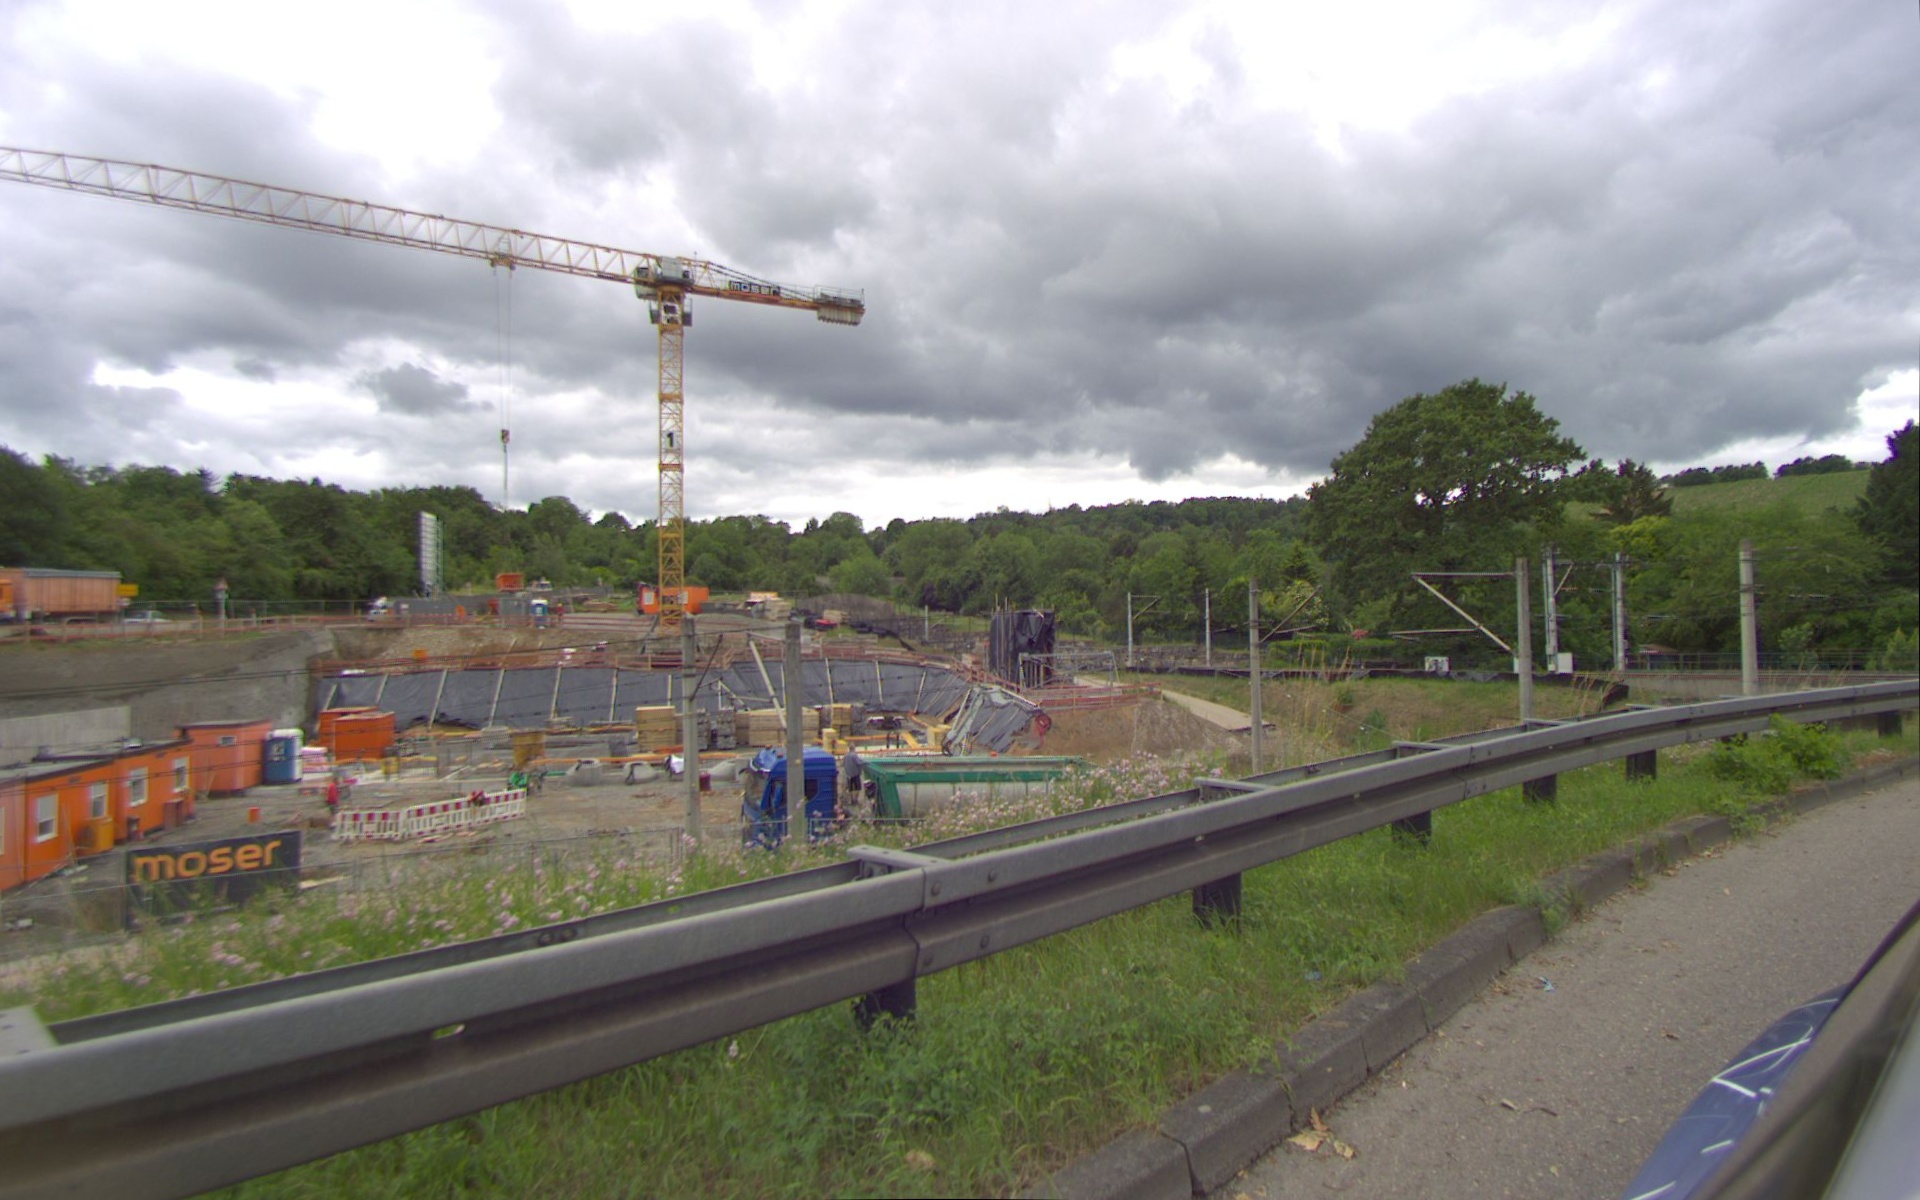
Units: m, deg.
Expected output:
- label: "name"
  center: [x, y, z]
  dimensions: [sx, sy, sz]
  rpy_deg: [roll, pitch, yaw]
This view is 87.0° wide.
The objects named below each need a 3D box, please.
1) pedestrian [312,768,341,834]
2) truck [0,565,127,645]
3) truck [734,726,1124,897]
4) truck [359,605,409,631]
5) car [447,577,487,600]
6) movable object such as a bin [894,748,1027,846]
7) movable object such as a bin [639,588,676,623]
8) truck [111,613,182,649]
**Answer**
- label: "pedestrian"
  center: [-21.220, 6.725, 33.915]
  dimensions: [0.689, 2.041, 0.804]
  rpy_deg: [-1, -5, -21]
- label: "truck"
  center: [-52.716, 0.319, 57.395]
  dimensions: [3.060, 4.275, 9.794]
  rpy_deg: [0, -1, -2]
- label: "truck"
  center: [-0.750, 6.030, 30.309]
  dimensions: [11.376, 3.944, 2.851]
  rpy_deg: [1, -2, -23]
- label: "truck"
  center: [-50.021, 1.605, 87.959]
  dimensions: [1.963, 2.040, 3.995]
  rpy_deg: [-2, -3, 2]
- label: "car"
  center: [-48.590, -1.110, 99.758]
  dimensions: [1.962, 2.039, 3.998]
  rpy_deg: [-2, -1, 1]
- label: "movable object such as a bin"
  center: [-0.066, 6.735, 34.920]
  dimensions: [4.201, 2.785, 3.050]
  rpy_deg: [2, -2, -5]
- label: "movable object such as a bin"
  center: [-27.368, 0.520, 91.597]
  dimensions: [2.746, 3.117, 1.841]
  rpy_deg: [-2, -1, -2]
- label: "truck"
  center: [-49.275, 1.918, 61.367]
  dimensions: [1.707, 2.040, 3.225]
  rpy_deg: [-1, -4, -1]
